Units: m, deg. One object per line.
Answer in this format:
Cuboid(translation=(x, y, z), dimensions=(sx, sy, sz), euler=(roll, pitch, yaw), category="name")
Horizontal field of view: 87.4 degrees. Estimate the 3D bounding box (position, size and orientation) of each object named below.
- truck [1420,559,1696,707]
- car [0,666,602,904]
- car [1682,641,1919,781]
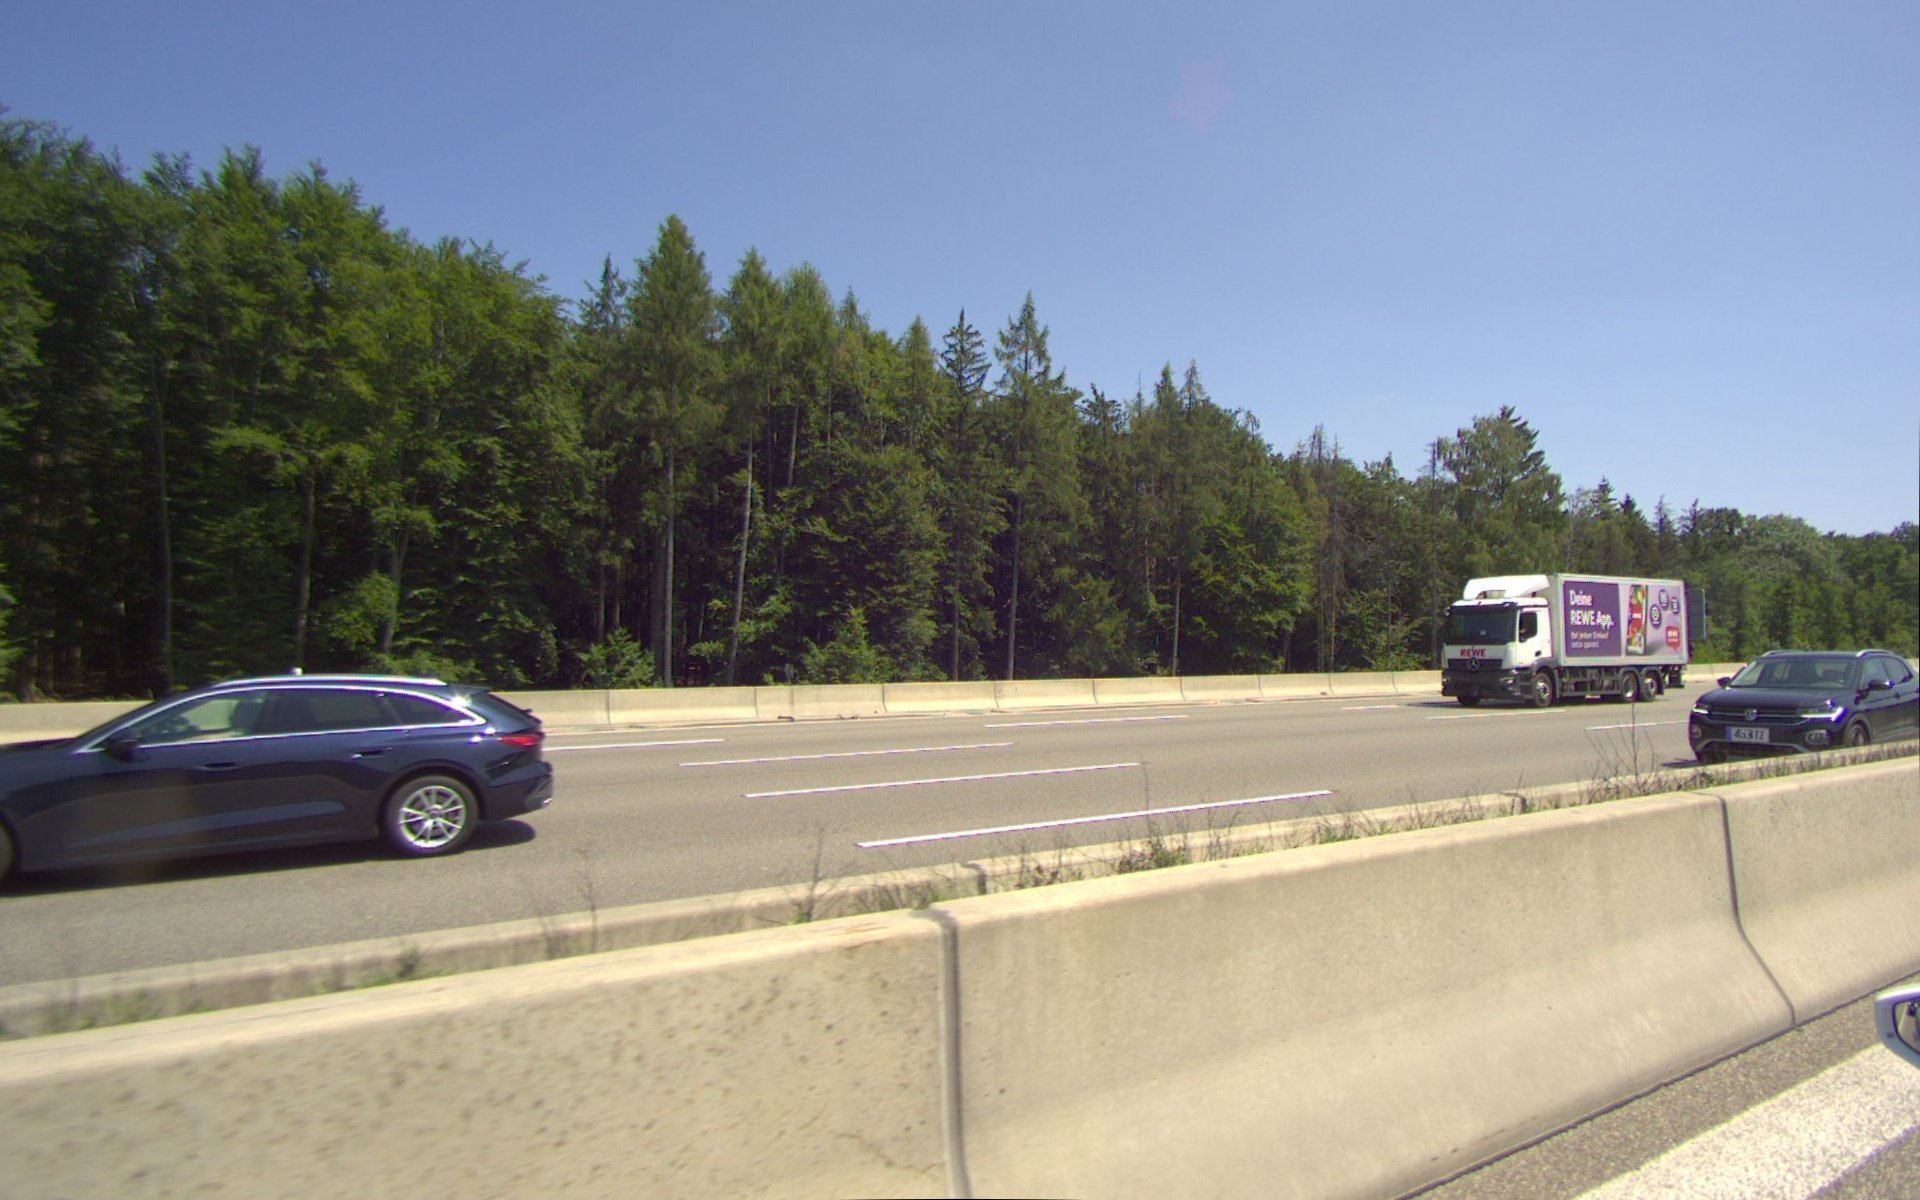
Cuboid(translation=(18.525, 1.104, 30.812), dimensions=(10.117, 3.990, 2.707), euler=(2, -3, -31), category="truck")
Cuboid(translation=(-5.614, 1.341, 8.192), dimensions=(4.852, 1.468, 1.709), euler=(1, -2, -31), category="car")
Cuboid(translation=(11.813, 1.420, 13.826), dimensions=(3.803, 1.683, 1.607), euler=(2, -2, -30), category="car")
